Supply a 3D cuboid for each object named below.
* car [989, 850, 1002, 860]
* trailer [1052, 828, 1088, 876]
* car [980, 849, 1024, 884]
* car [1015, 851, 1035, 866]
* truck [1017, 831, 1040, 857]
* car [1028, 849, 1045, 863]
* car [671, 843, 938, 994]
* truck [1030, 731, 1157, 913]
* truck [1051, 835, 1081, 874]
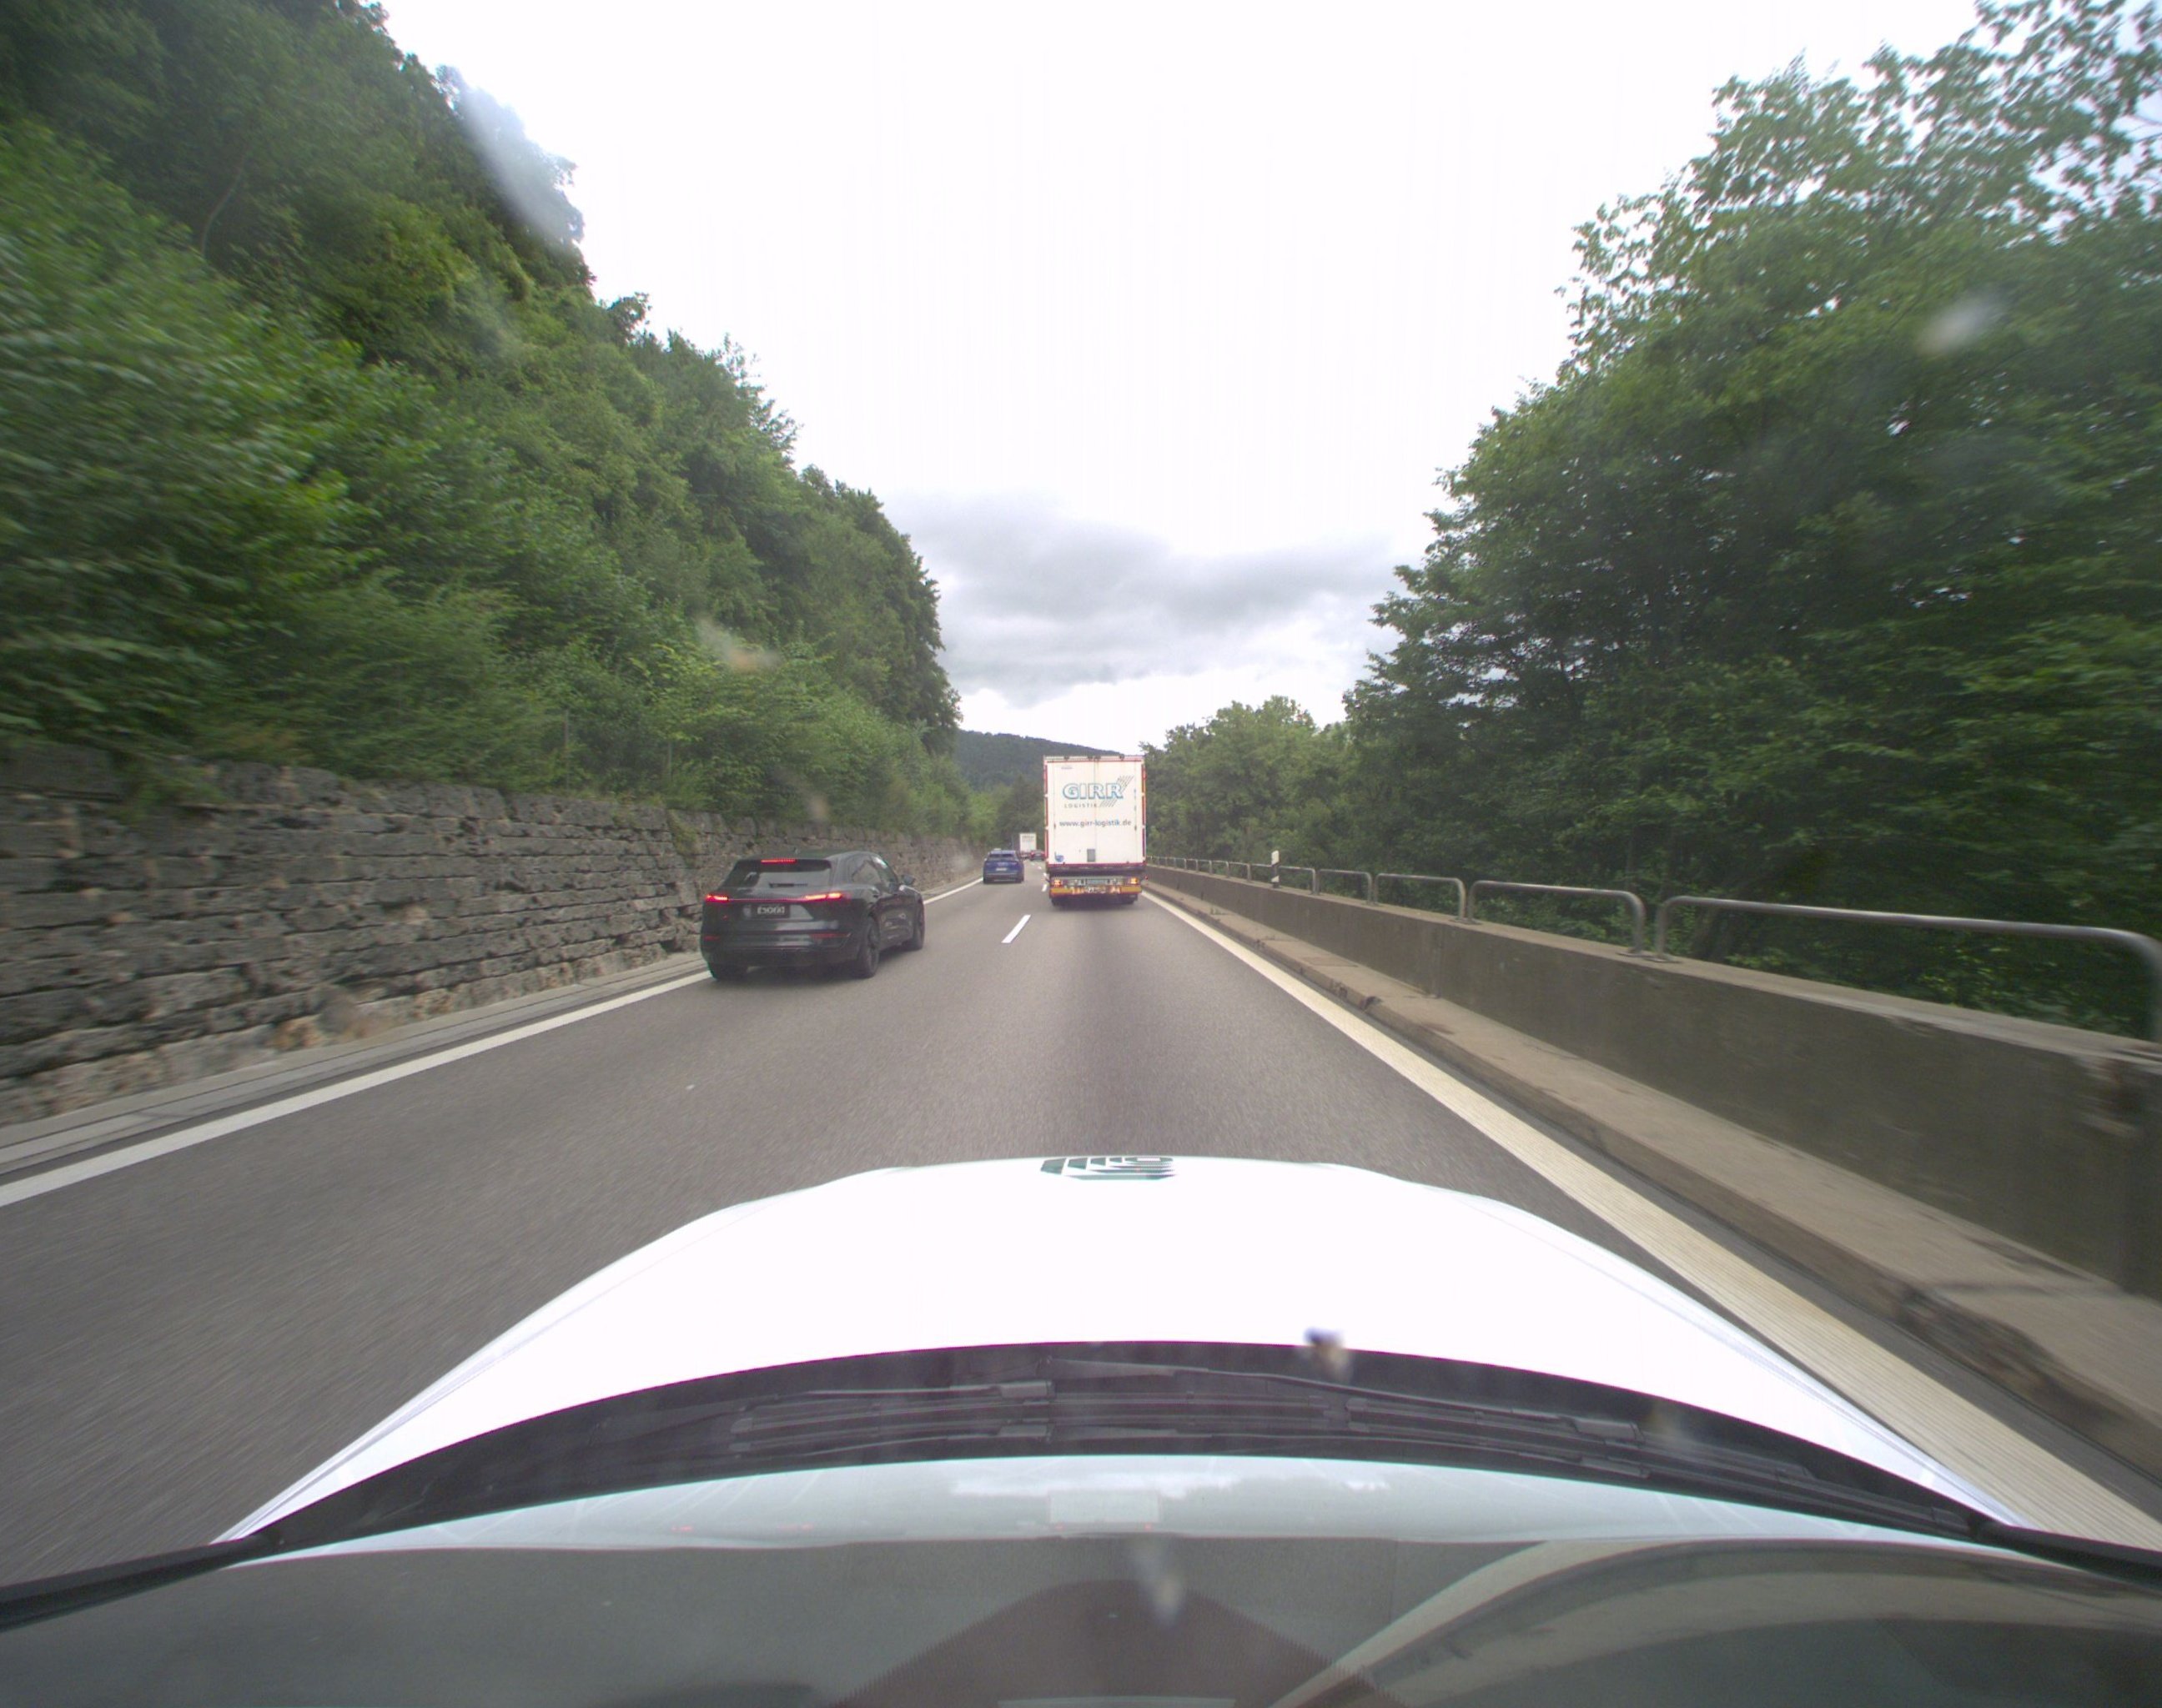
[{"bbox_3d":[-13.933,0.093,132.609,1.896,1.550,4.236,0,0,-9],"label":"car"},{"bbox_3d":[-0.905,-0.101,57.094,2.206,3.048,11.127,0,0,-3],"label":"trailer"},{"bbox_3d":[-3.896,0.570,40.901,1.989,1.632,5.002,-1,0,-4],"label":"car"},{"bbox_3d":[-5.908,0.454,85.291,1.990,1.596,4.346,0,0,-5],"label":"car"},{"bbox_3d":[-8.367,-1.530,127.595,2.633,3.857,12.324,-1,0,-8],"label":"truck"},{"bbox_3d":[-5.771,0.249,105.102,2.058,1.654,3.992,-1,0,-6],"label":"car"},{"bbox_3d":[-3.504,0.714,11.541,1.987,1.632,5.008,-1,0,1],"label":"car"},{"bbox_3d":[0.240,-0.835,27.816,3.075,4.464,15.150,-1,0,-1],"label":"truck"},{"bbox_3d":[-1.174,0.021,62.675,2.203,2.851,4.999,0,0,-2],"label":"truck"}]
